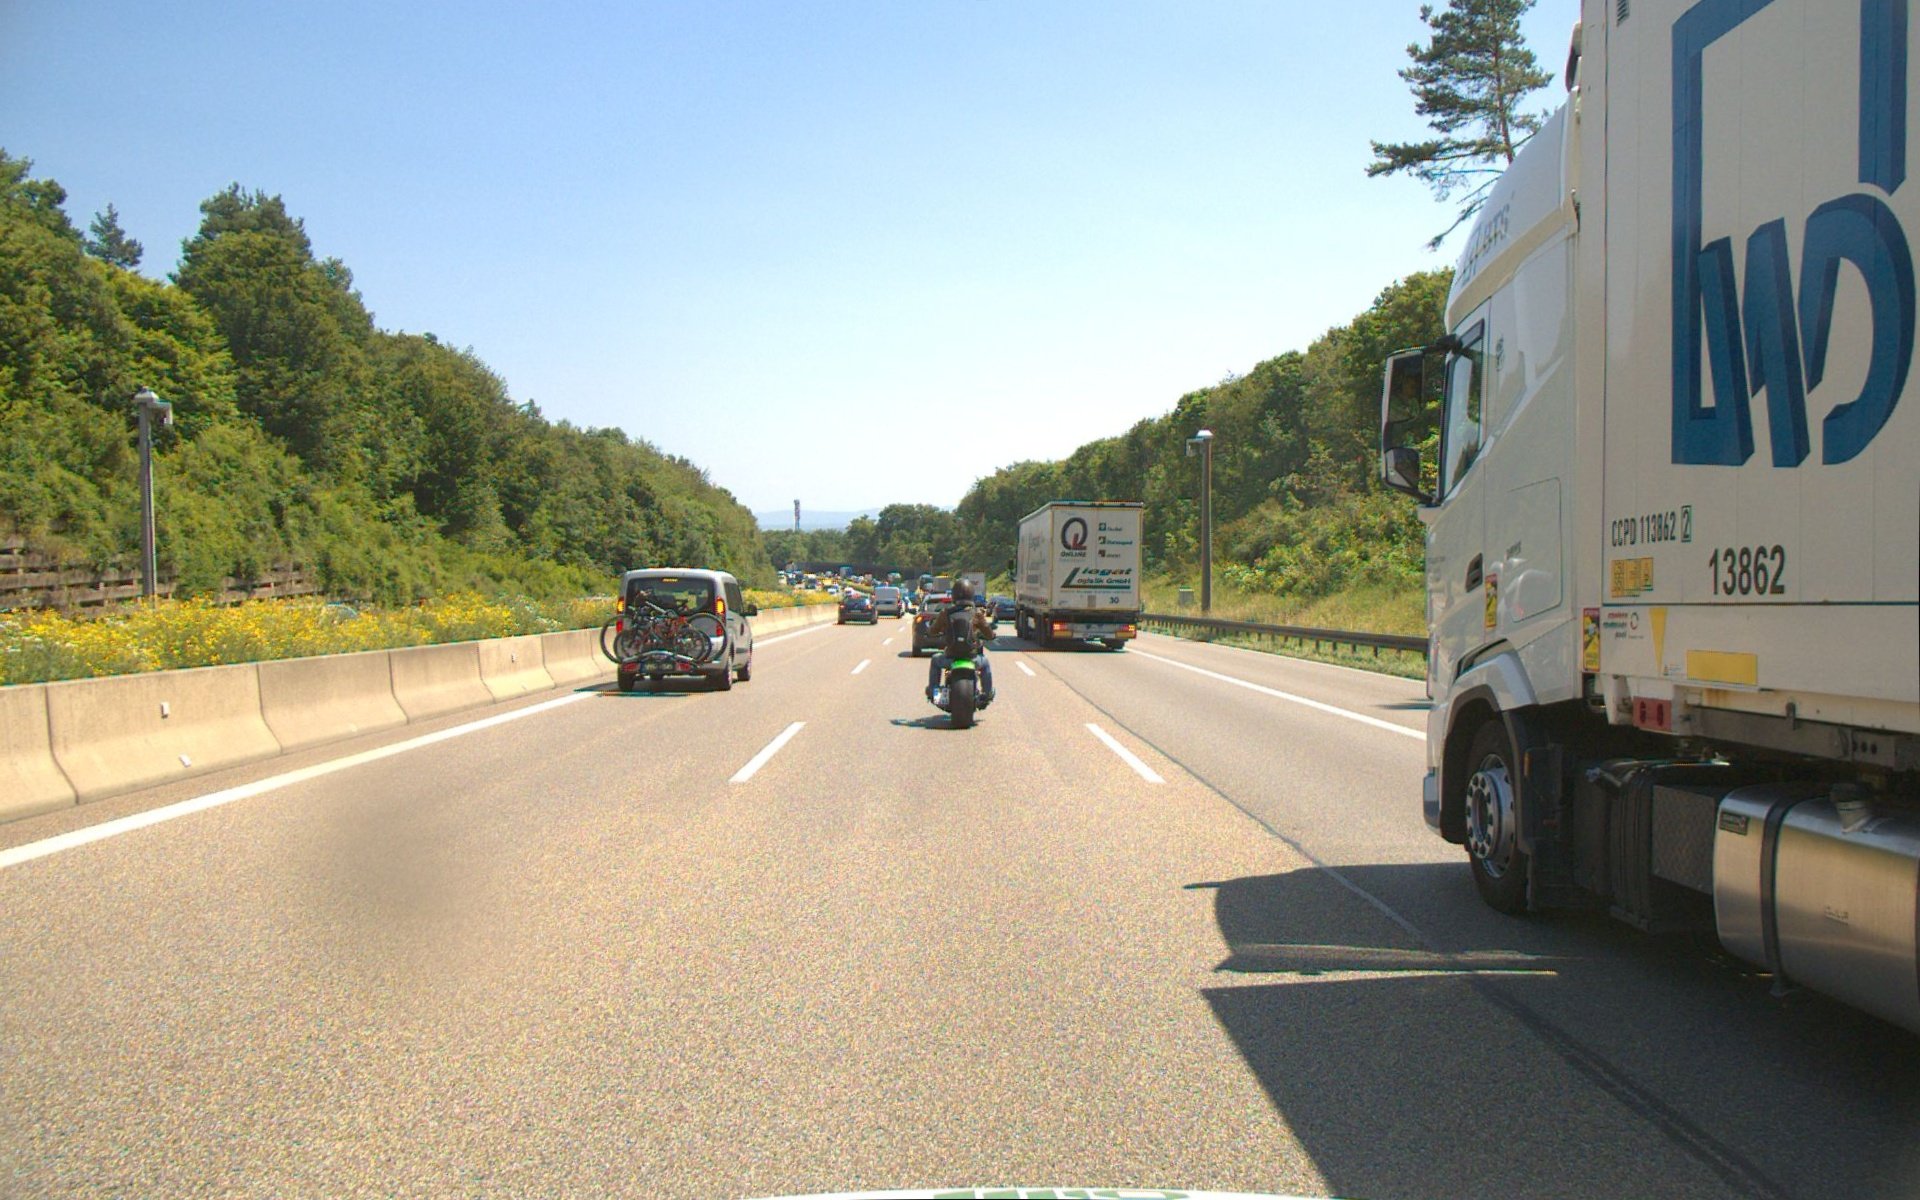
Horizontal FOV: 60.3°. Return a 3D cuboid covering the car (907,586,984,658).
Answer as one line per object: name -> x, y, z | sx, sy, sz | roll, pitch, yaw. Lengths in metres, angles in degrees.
car -> -0.380, 0.507, 41.229 | 1.808, 1.584, 4.439 | 1, 1, -1

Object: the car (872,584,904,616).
car -> -4.370, -0.026, 100.996 | 1.794, 1.842, 4.119 | 1, 1, -1

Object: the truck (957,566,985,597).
truck -> 1.288, -2.250, 193.960 | 3.005, 3.404, 9.651 | 2, 1, -1

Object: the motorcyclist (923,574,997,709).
motorcyclist -> -0.002, 0.470, 19.341 | 0.838, 1.541, 0.914 | 0, 0, 0

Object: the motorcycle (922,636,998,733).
motorcycle -> 0.003, 0.958, 19.424 | 0.844, 0.999, 2.131 | 0, 1, 0

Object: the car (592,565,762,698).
car -> -4.377, 0.421, 26.430 | 1.860, 1.880, 5.482 | 1, 1, -1

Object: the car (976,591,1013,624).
car -> 1.827, 0.381, 89.236 | 1.794, 1.585, 4.119 | 1, 1, -1

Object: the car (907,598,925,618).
car -> -4.515, 0.828, 170.950 | 1.794, 1.842, 4.119 | 1, 1, -1

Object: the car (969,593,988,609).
car -> 1.929, 0.088, 170.684 | 1.794, 1.585, 4.119 | 1, 1, -1

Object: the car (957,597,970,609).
car -> 0.565, 0.448, 249.935 | 1.794, 1.585, 4.119 | 1, 1, -1

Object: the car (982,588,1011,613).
car -> 2.534, 0.013, 116.073 | 1.794, 1.585, 4.119 | 1, 1, -1

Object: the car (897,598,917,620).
car -> -4.817, 0.847, 150.856 | 1.794, 1.842, 4.119 | 1, 1, -1

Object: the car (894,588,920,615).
car -> -3.787, 0.088, 117.948 | 1.794, 1.842, 4.119 | 1, 1, -1

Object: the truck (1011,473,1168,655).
truck -> 3.778, -1.148, 53.539 | 3.314, 4.800, 17.707 | 2, 1, -1

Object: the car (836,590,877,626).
car -> -4.908, 0.369, 78.801 | 1.722, 1.570, 4.394 | 1, 1, -1

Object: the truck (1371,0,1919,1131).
truck -> 3.908, -0.634, 4.849 | 2.625, 4.130, 10.625 | 1, 1, -1
